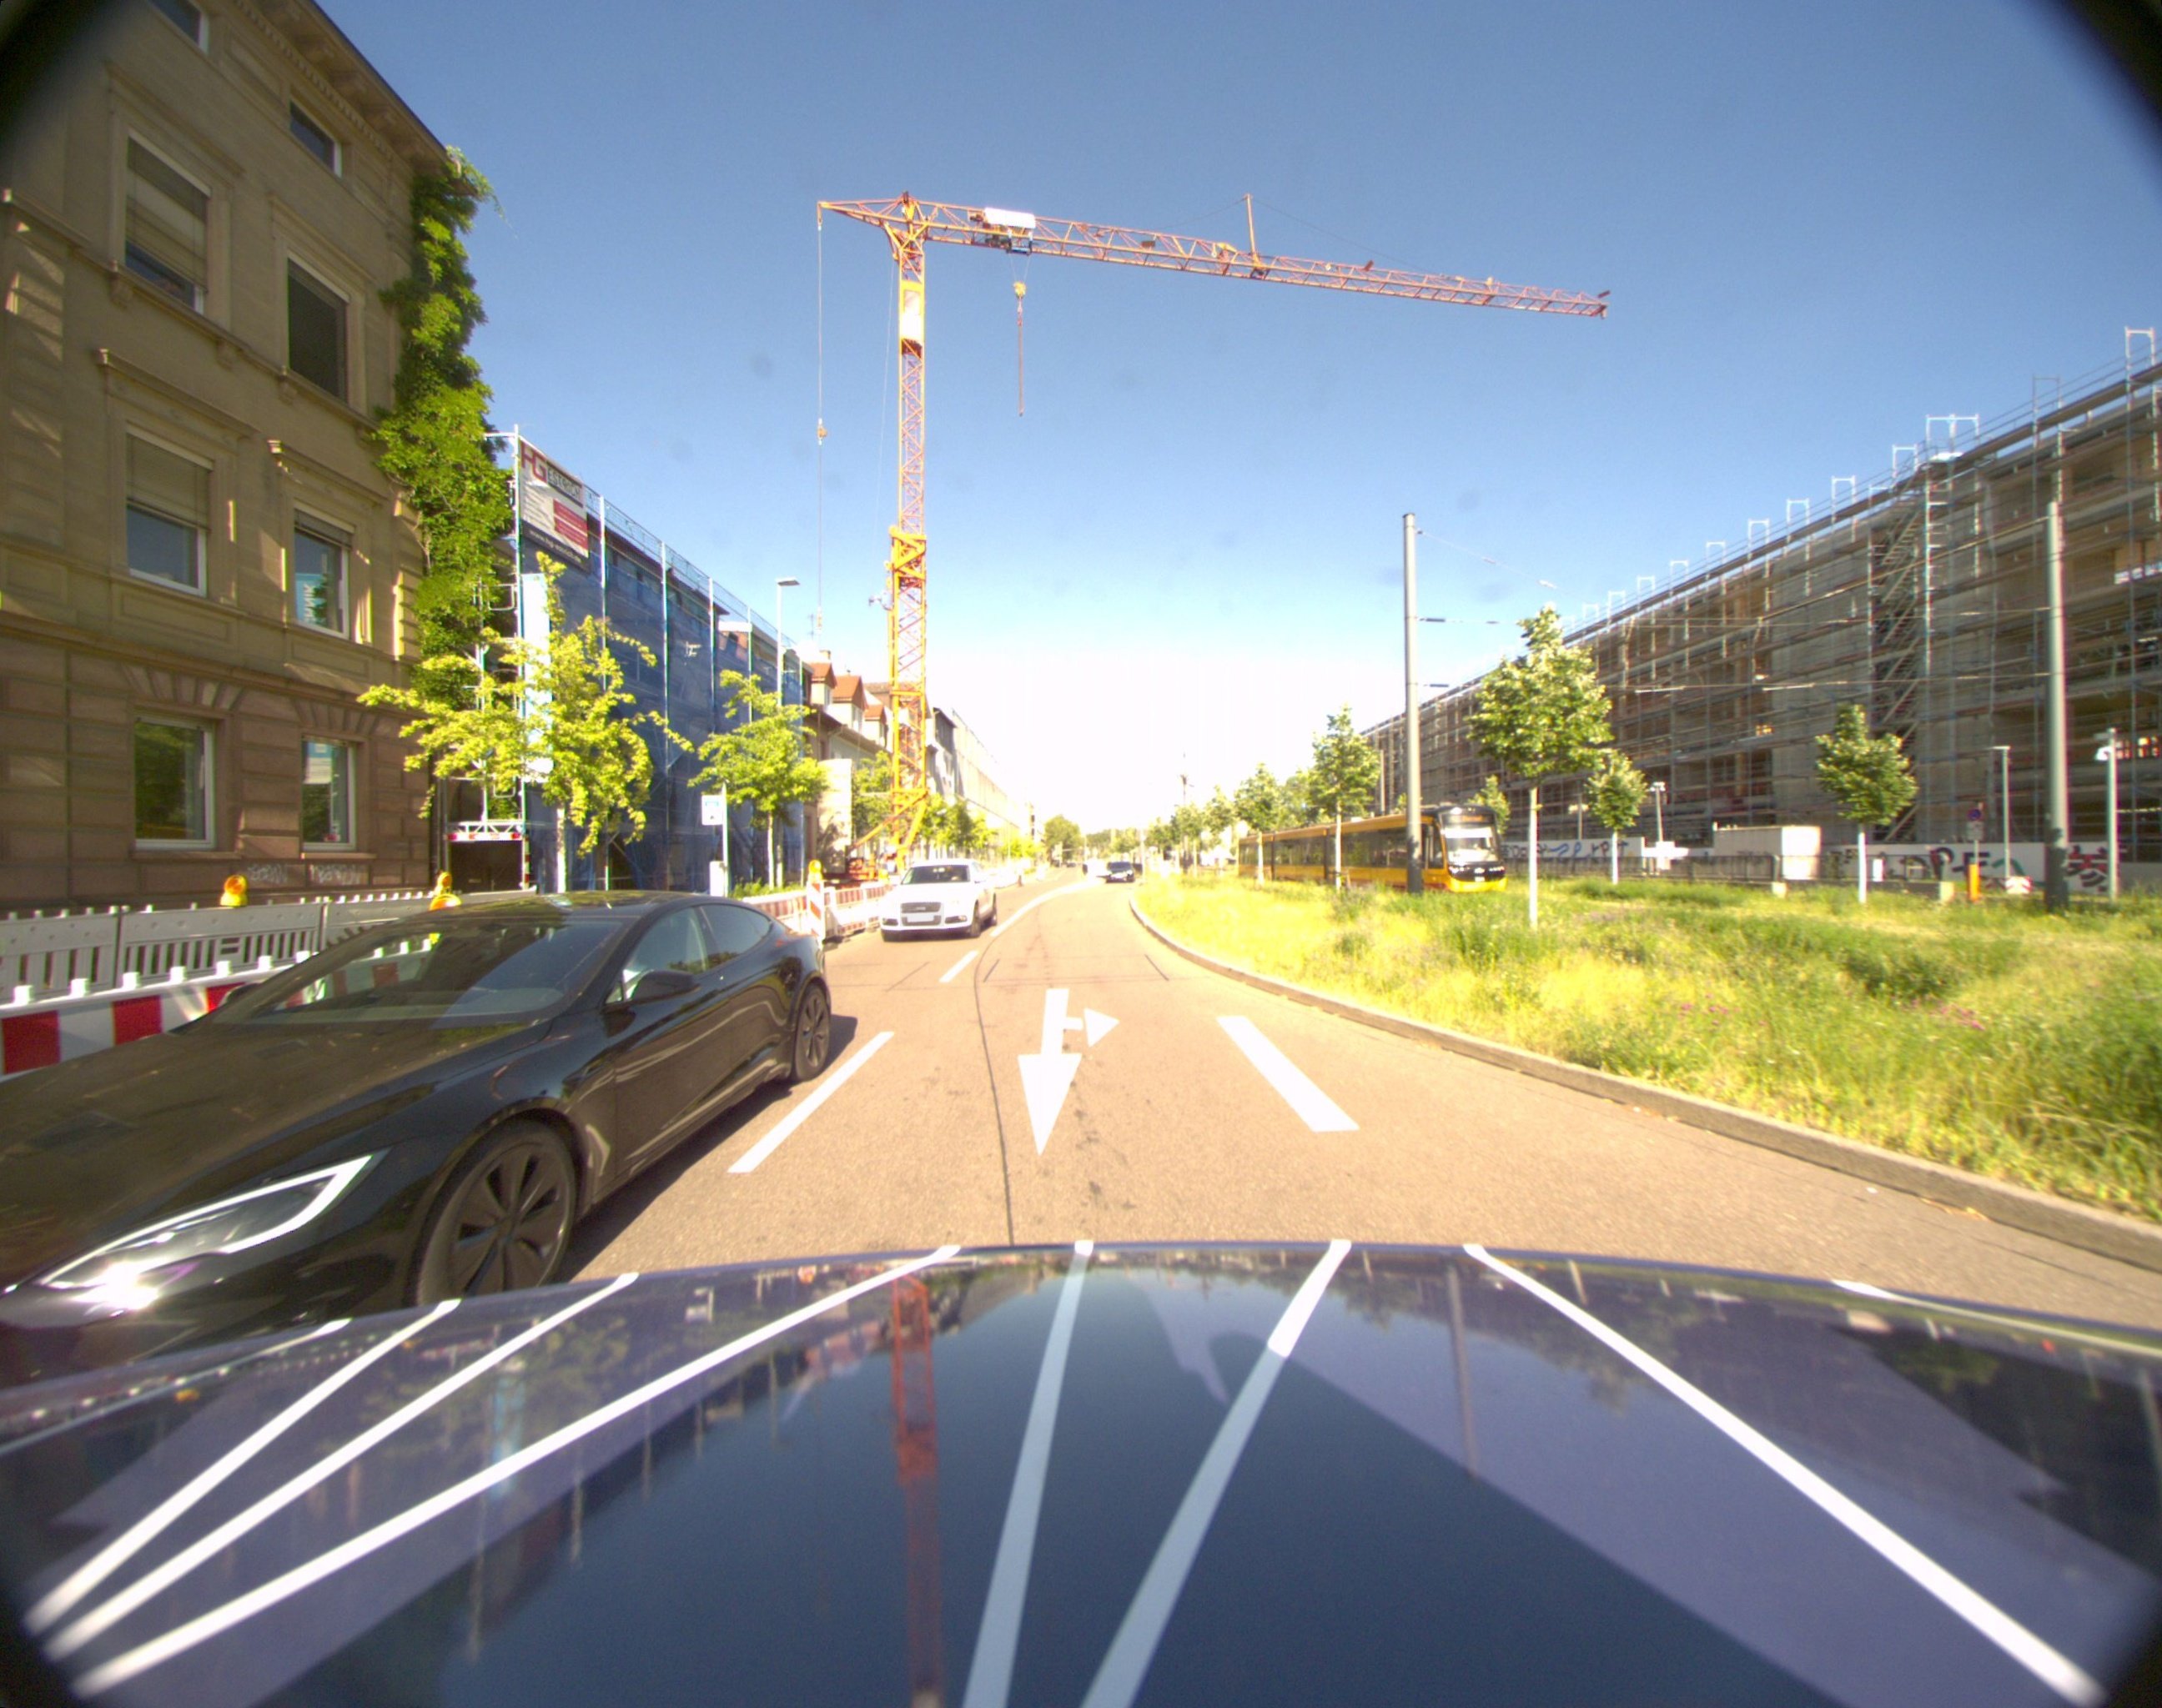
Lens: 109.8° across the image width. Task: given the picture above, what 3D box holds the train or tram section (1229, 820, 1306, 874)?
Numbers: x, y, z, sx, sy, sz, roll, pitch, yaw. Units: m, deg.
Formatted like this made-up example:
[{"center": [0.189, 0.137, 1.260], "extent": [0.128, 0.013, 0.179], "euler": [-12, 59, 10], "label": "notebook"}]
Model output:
[{"center": [13.815, -0.483, 57.639], "extent": [2.822, 3.617, 12.789], "euler": [0, 0, 0], "label": "train or tram section"}]

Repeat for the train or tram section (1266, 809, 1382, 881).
[{"center": [13.845, -0.443, 44.860], "extent": [2.822, 3.617, 12.789], "euler": [0, 0, 0], "label": "train or tram section"}]

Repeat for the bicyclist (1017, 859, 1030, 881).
[{"center": [-3.788, 1.041, 49.980], "extent": [0.755, 1.454, 0.587], "euler": [-2, 1, -5], "label": "bicyclist"}]

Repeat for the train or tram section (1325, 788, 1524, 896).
[{"center": [13.661, -0.409, 32.056], "extent": [2.822, 3.617, 12.789], "euler": [0, 0, 1], "label": "train or tram section"}]

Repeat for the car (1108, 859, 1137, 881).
[{"center": [2.818, 1.084, 52.075], "extent": [1.927, 1.434, 4.178], "euler": [-1, 0, 2], "label": "car"}]

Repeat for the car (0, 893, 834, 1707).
[{"center": [-2.971, 1.048, 3.649], "extent": [2.056, 1.435, 4.524], "euler": [-2, 0, 0], "label": "car"}]

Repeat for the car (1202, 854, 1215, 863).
[{"center": [28.810, 0.999, 171.832], "extent": [2.338, 2.146, 4.397], "euler": [-1, 0, 0], "label": "car"}]

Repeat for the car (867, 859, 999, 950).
[{"center": [-3.007, 0.971, 16.367], "extent": [1.934, 1.624, 4.000], "euler": [-2, 0, 1], "label": "car"}]

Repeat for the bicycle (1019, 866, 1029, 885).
[{"center": [-3.778, 1.401, 49.985], "extent": [0.610, 1.144, 1.986], "euler": [0, 0, -5], "label": "bicycle"}]
